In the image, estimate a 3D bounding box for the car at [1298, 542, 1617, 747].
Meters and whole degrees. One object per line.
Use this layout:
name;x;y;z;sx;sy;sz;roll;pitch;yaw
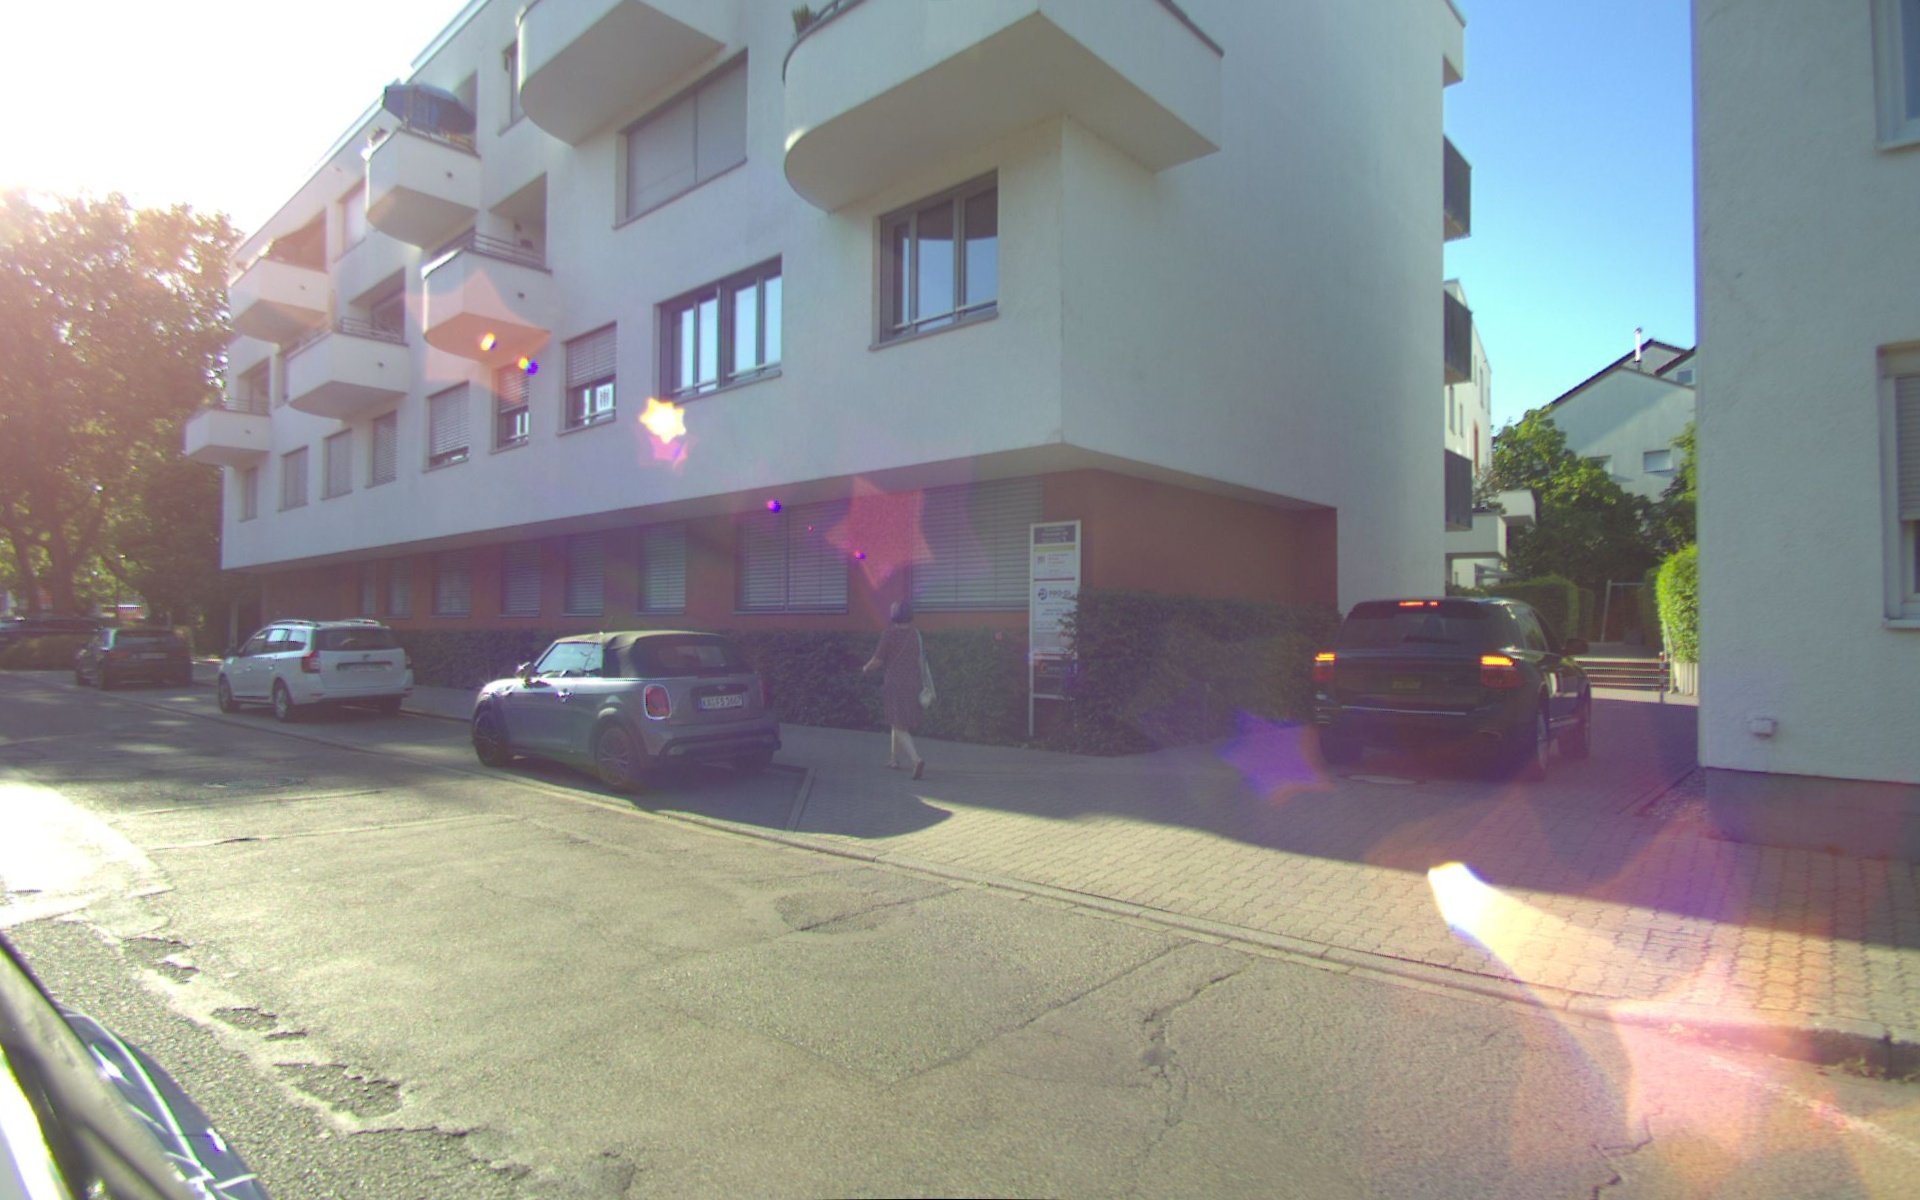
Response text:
car;5.368;0.456;10.565;2.012;1.651;4.560;-2;-3;39

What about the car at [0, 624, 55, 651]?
car;-60.138;2.350;63.982;1.788;1.637;3.966;0;-1;25

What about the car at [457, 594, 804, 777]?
car;-3.536;0.743;10.543;3.854;1.547;1.651;-1;1;40

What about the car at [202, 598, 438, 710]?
car;-10.722;0.797;16.820;4.614;1.599;1.840;-1;1;38

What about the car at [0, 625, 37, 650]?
car;-62.135;2.426;65.235;1.639;1.572;3.574;0;0;22

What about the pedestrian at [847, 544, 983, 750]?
pedestrian;-0.457;0.416;9.778;0.849;1.832;1.136;-3;1;-26

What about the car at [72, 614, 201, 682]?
car;-19.641;1.078;24.097;3.767;1.444;1.658;-1;1;39

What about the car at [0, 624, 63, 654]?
car;-55.392;2.257;59.571;1.634;1.674;3.634;0;0;13

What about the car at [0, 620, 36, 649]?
car;-64.243;2.278;67.161;1.822;1.896;3.968;0;0;23

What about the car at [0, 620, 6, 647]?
car;-66.930;2.295;67.897;1.700;1.901;3.983;0;0;13

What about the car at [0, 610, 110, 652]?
car;-41.689;1.388;46.081;1.890;1.788;4.246;0;0;17

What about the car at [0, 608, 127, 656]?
car;-33.453;1.128;37.403;1.683;1.675;3.945;0;0;12
